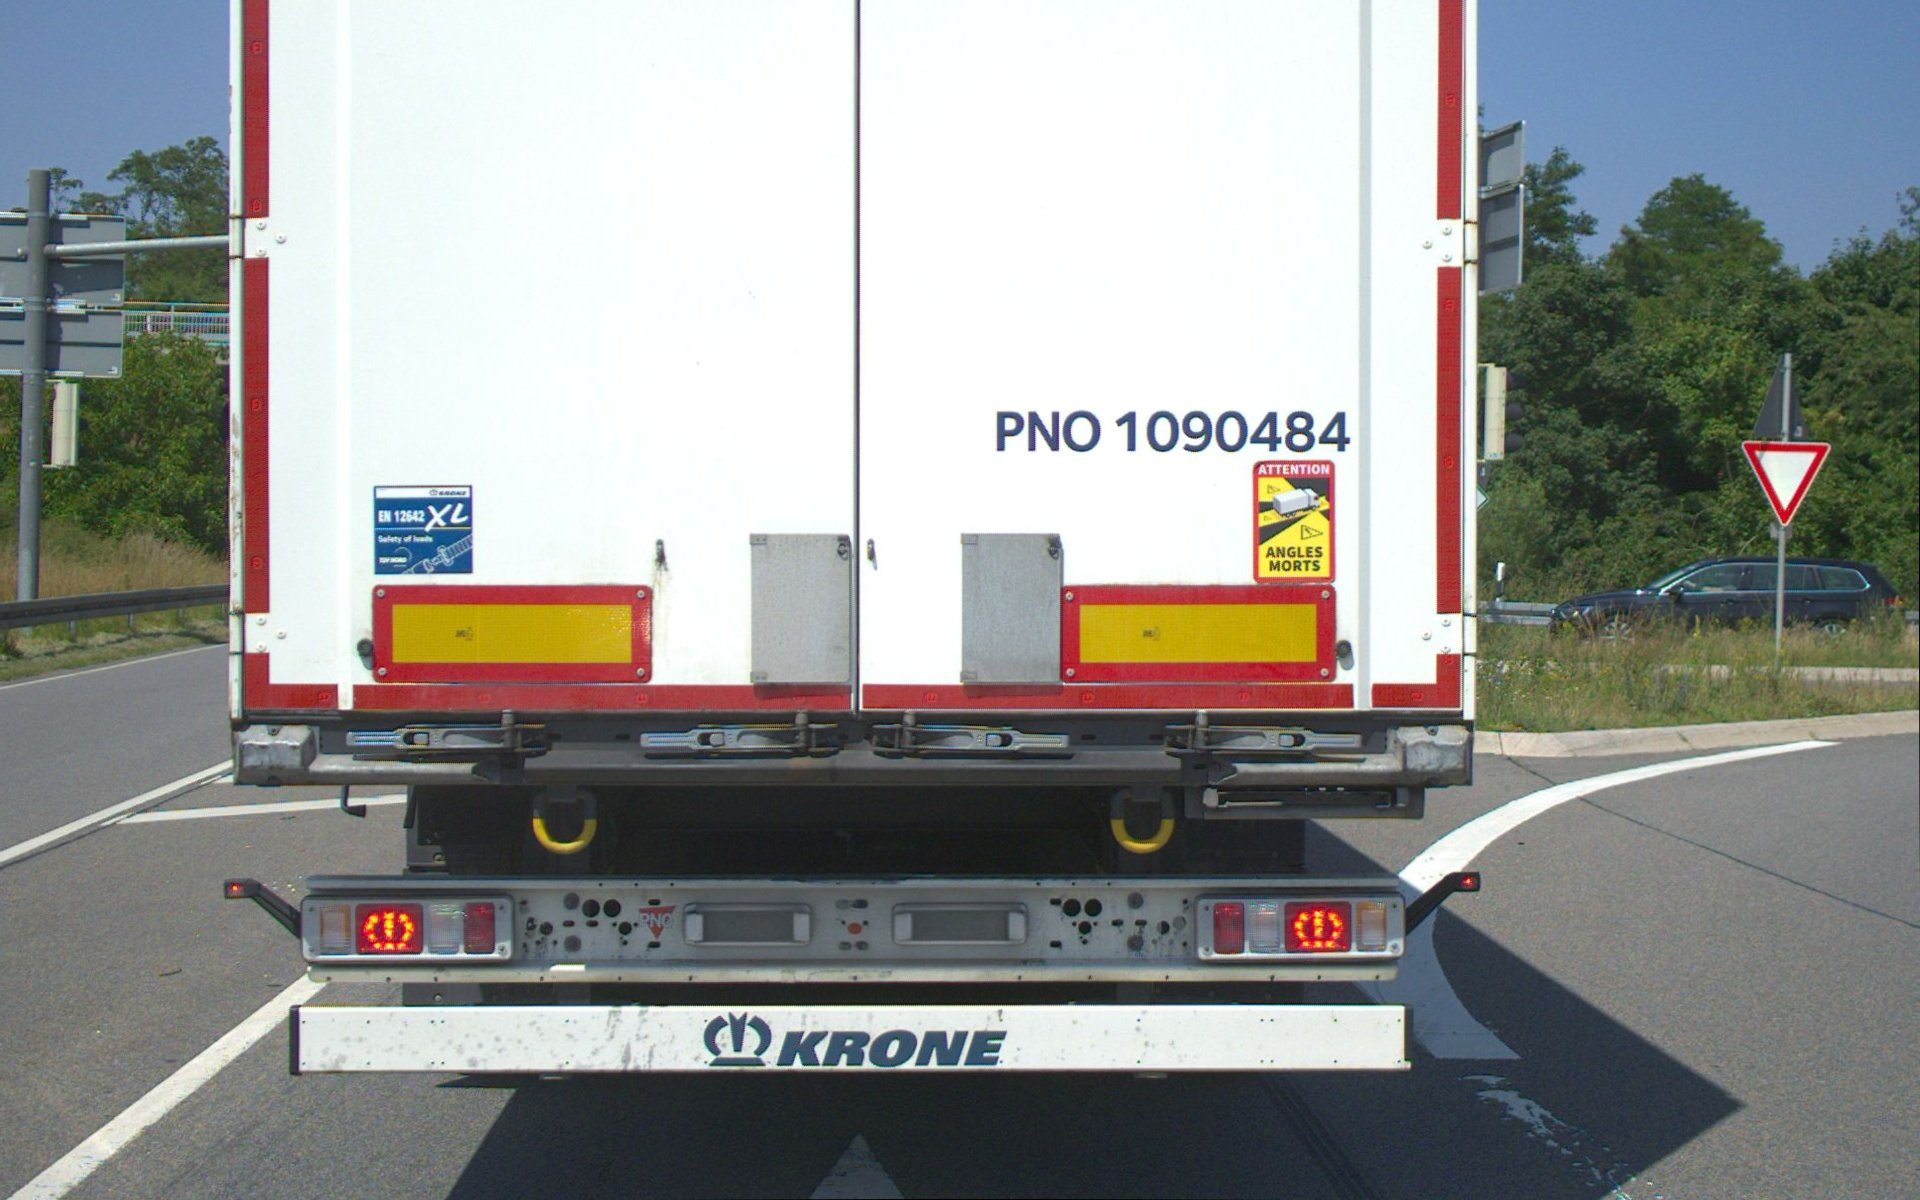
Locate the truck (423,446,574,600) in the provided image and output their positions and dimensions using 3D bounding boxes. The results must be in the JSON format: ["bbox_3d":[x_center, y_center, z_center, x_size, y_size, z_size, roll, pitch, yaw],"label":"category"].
[{"bbox_3d":[-11.115,-1.807,83.417,2.644,3.526,7.890,1,0,-1],"label":"truck"}]

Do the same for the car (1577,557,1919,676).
[{"bbox_3d":[10.632,0.202,45.880,4.684,1.508,1.852,1,0,11],"label":"car"}]

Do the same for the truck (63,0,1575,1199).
[{"bbox_3d":[-0.377,-0.658,11.777,2.987,3.928,9.876,1,1,-1],"label":"truck"}]
